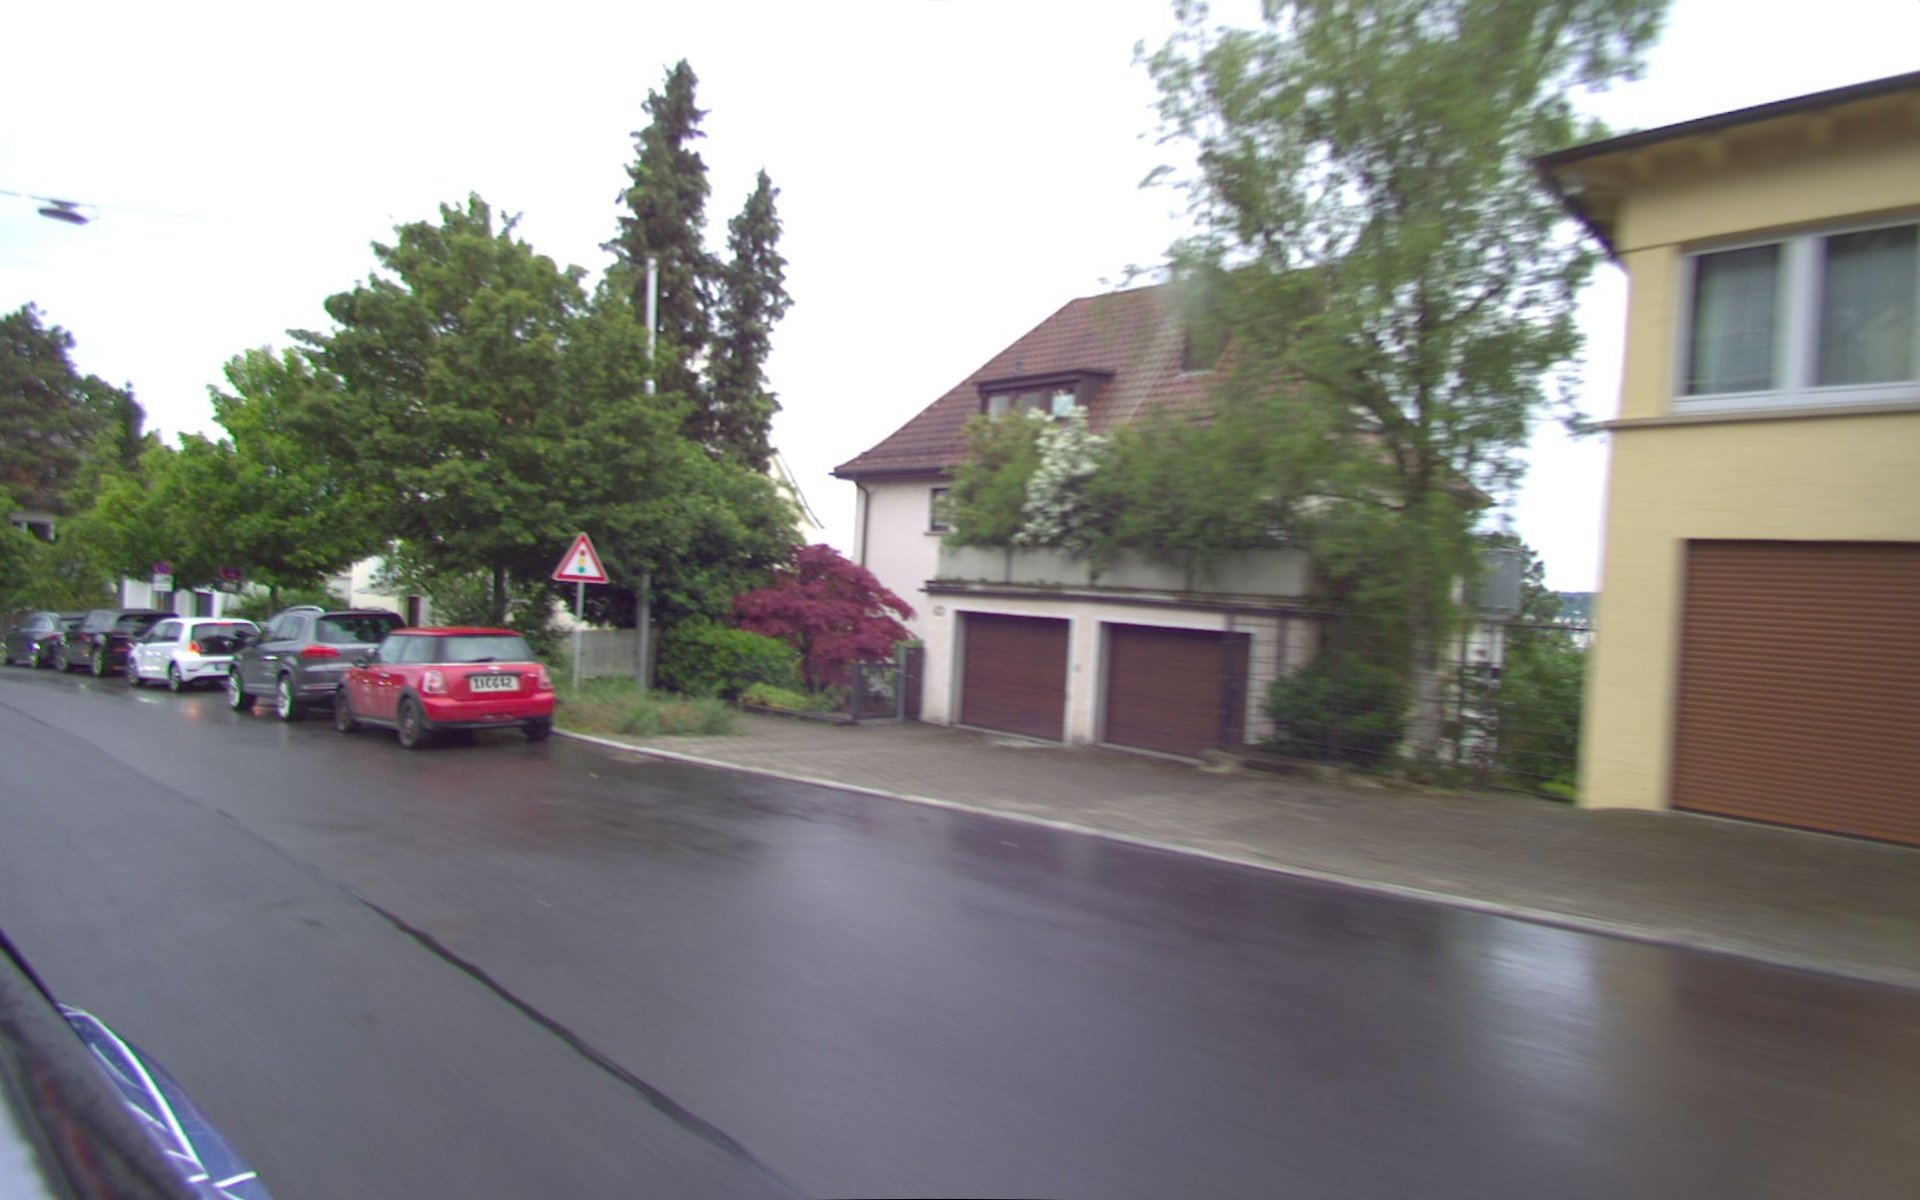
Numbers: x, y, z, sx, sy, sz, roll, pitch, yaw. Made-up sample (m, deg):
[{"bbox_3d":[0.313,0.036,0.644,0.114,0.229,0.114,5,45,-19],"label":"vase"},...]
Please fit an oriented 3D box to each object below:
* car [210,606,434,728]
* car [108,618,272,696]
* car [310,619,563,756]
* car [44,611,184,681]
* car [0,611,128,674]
[{"bbox_3d":[-10.238,0.975,16.109,4.423,1.681,1.782,-1,-2,41],"label":"car"},{"bbox_3d":[-16.402,1.143,21.502,3.992,1.477,1.718,-1,0,36],"label":"car"},{"bbox_3d":[-6.817,1.010,13.015,3.865,1.483,1.664,-1,-2,43],"label":"car"},{"bbox_3d":[-20.988,1.062,25.055,4.202,1.557,1.718,0,0,36],"label":"car"},{"bbox_3d":[-25.000,1.101,27.930,4.891,1.557,1.851,0,0,34],"label":"car"}]
